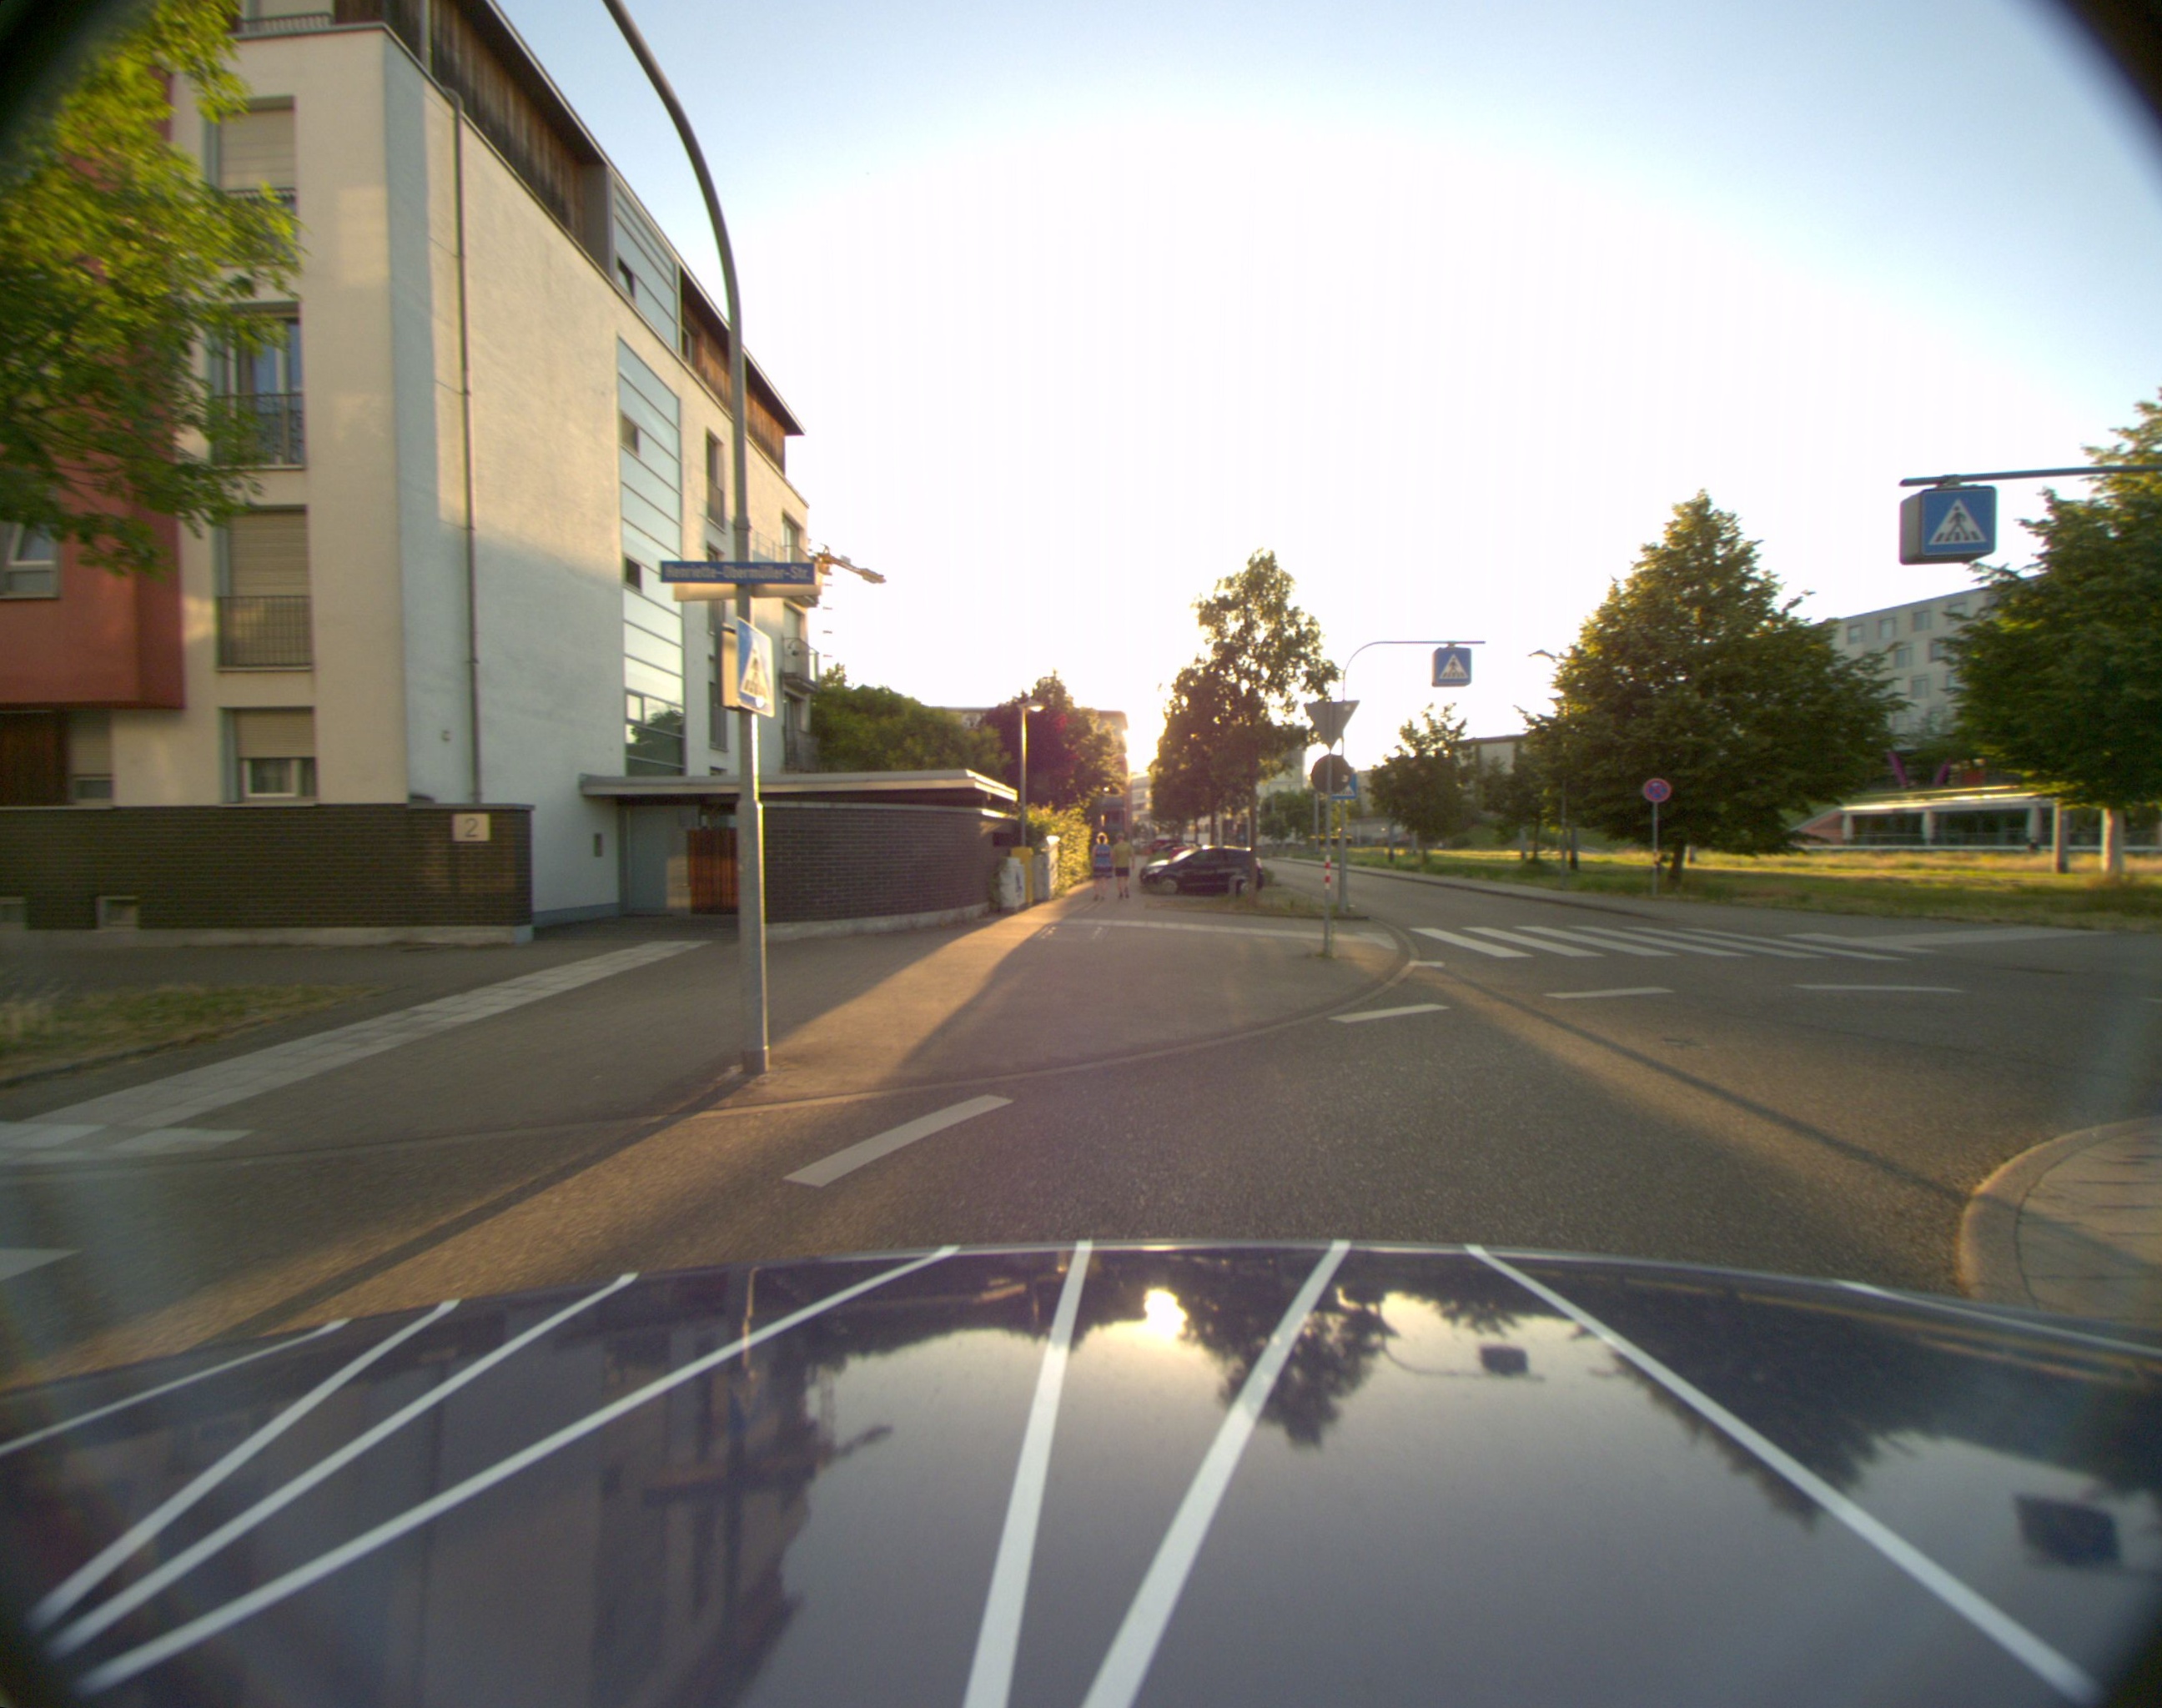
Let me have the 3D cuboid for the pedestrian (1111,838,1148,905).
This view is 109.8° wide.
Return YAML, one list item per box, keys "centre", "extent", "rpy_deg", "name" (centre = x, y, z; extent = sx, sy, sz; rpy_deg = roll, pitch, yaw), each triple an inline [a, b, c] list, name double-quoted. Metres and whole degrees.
- centre: [1.225, 0.428, 19.296]
  extent: [0.625, 1.658, 0.741]
  rpy_deg: [-2, 4, -36]
  name: "pedestrian"

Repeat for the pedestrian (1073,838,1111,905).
- centre: [0.283, 0.419, 19.007]
  extent: [0.658, 1.591, 0.711]
  rpy_deg: [-2, 4, -36]
  name: "pedestrian"

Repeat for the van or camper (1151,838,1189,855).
- centre: [9.509, -0.821, 81.207]
  extent: [3.875, 1.685, 1.835]
  rpy_deg: [-1, 1, 4]
  name: "van or camper"

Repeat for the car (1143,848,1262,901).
- centre: [3.603, 0.599, 23.015]
  extent: [3.407, 1.513, 1.691]
  rpy_deg: [0, 1, 4]
  name: "car"

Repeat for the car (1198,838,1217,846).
- centre: [27.956, -2.691, 168.128]
  extent: [3.876, 1.604, 1.703]
  rpy_deg: [-1, 1, 2]
  name: "car"

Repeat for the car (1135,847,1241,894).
- centre: [3.516, 0.509, 25.351]
  extent: [3.407, 1.492, 1.595]
  rpy_deg: [0, 1, 4]
  name: "car"

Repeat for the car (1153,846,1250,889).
- centre: [4.360, 0.478, 27.890]
  extent: [3.407, 1.492, 1.595]
  rpy_deg: [0, 1, 4]
  name: "car"

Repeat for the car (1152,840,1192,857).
- centre: [9.379, -0.570, 78.296]
  extent: [3.877, 1.685, 1.702]
  rpy_deg: [-1, 1, -1]
  name: "car"
